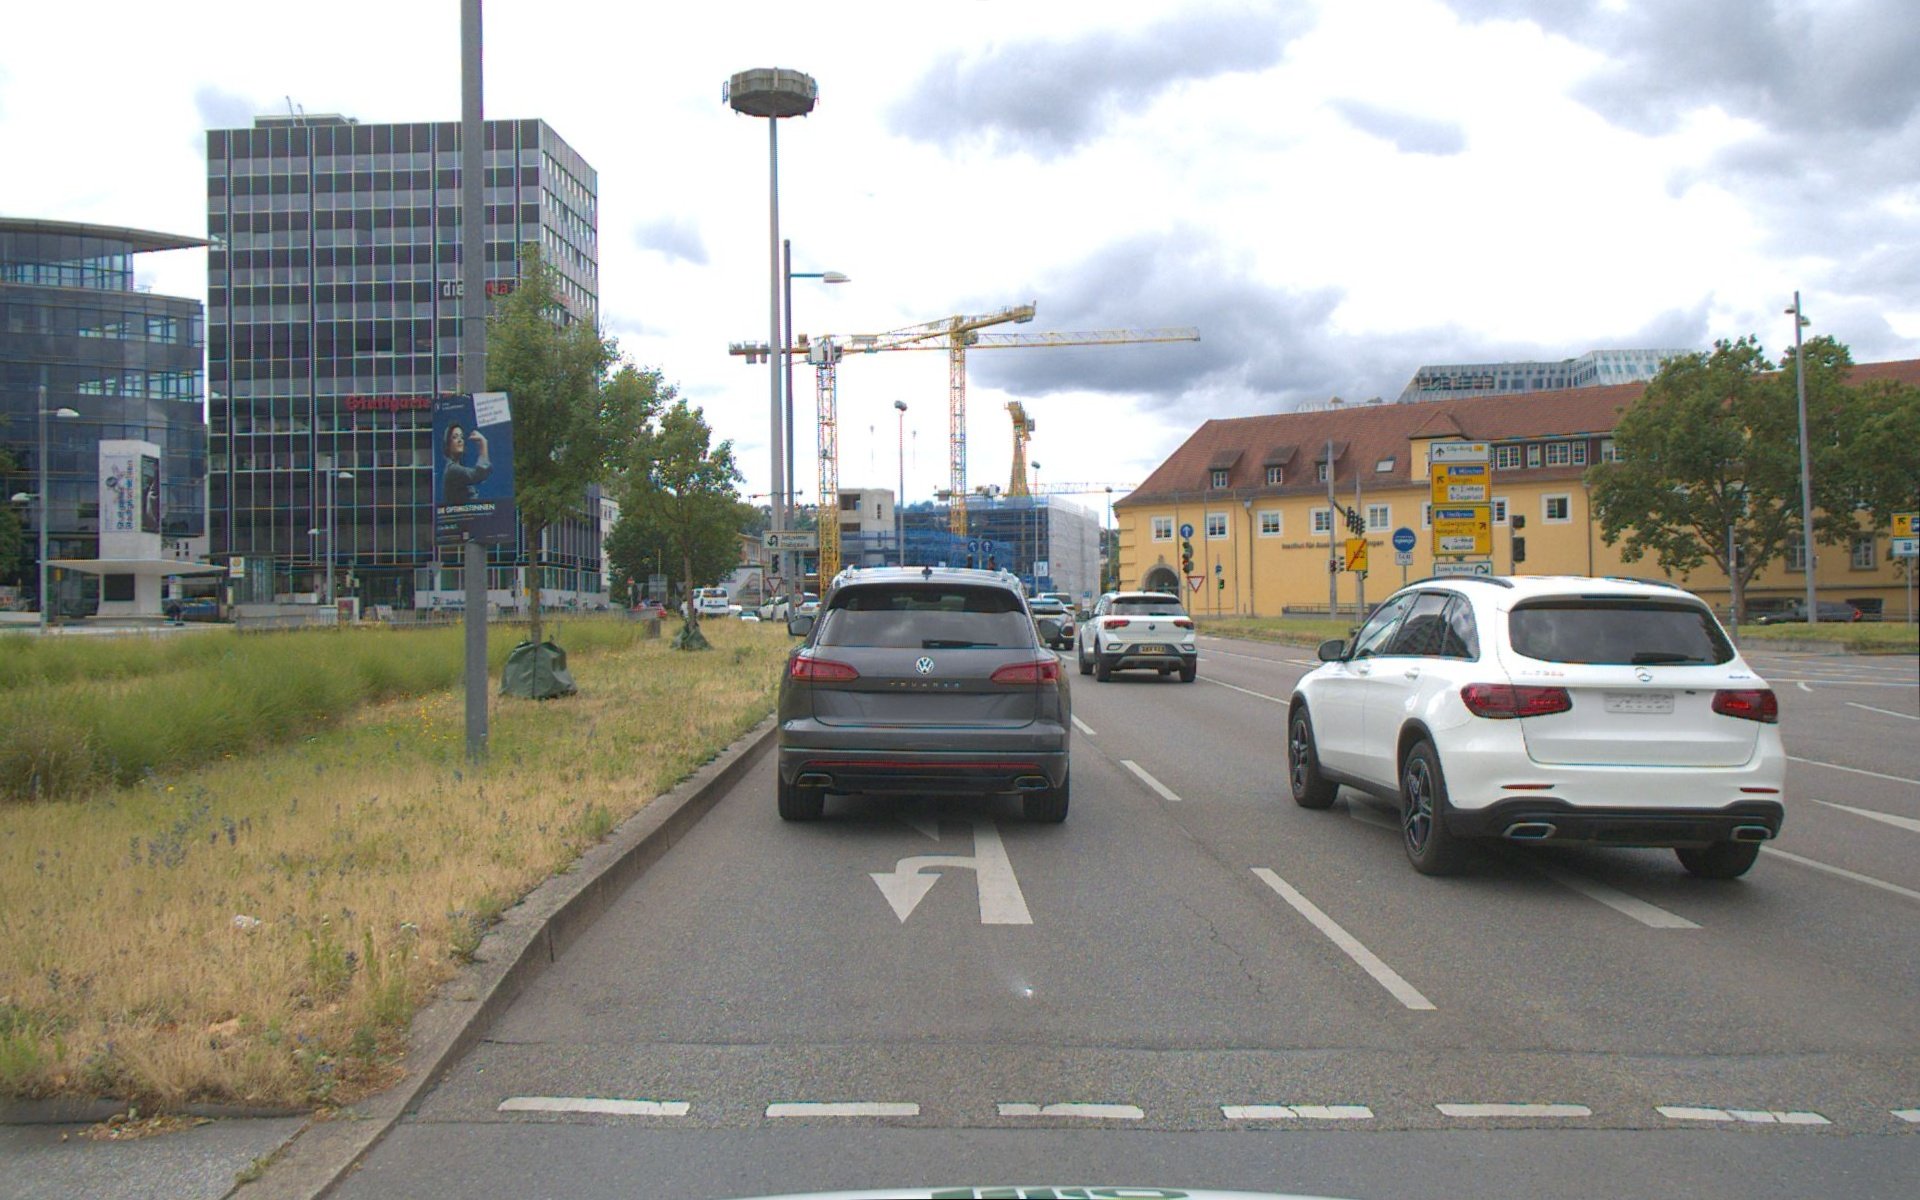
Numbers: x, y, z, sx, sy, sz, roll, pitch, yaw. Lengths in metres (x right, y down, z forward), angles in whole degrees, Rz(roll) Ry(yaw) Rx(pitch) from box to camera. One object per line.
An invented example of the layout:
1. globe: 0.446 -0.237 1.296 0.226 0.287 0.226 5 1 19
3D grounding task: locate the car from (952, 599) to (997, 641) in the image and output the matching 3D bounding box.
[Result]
1. car: 0.593 0.773 64.990 1.683 1.528 3.982 0 1 1

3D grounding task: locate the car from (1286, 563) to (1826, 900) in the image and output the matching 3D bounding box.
1. car: 3.401 0.626 10.431 1.782 1.676 4.378 0 1 -1

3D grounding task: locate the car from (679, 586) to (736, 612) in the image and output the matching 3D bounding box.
1. car: -15.491 -0.057 101.298 2.217 1.529 4.574 0 1 -26

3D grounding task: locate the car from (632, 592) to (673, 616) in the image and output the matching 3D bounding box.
1. car: -20.763 0.254 111.694 1.699 1.529 3.945 0 0 -27

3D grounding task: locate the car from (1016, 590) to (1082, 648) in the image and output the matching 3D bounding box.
1. car: 2.502 0.510 47.181 1.683 1.529 4.144 0 1 0

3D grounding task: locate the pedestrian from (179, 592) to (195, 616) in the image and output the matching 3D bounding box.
1. pedestrian: -37.070 0.191 79.333 0.465 1.100 0.560 1 0 0

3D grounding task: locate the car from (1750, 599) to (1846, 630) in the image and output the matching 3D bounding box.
1. car: 39.935 0.670 78.835 4.002 1.438 1.655 0 0 31

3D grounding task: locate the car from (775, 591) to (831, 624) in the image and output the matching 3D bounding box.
1. car: -7.518 0.340 78.715 1.787 1.522 3.884 0 1 -19

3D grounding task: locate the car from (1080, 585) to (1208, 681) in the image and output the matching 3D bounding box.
1. car: 3.271 0.547 30.081 1.855 1.613 3.800 0 1 -1

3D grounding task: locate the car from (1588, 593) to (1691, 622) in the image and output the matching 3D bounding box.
1. car: 33.868 0.362 82.476 4.592 1.445 1.593 0 0 31

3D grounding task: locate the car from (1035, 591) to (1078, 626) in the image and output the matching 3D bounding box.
1. car: 4.378 0.363 75.549 1.766 1.529 3.981 0 1 0

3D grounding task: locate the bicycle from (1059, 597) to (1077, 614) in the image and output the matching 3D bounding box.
1. bicycle: 7.648 0.376 117.071 0.905 1.179 2.462 1 0 -5

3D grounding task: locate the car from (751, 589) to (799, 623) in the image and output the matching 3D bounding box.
1. car: -11.209 0.324 100.220 1.868 1.638 3.974 -2 6 -23

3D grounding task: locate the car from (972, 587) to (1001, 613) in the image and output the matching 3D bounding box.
1. car: 1.587 -0.031 99.816 1.683 1.529 3.981 0 1 0

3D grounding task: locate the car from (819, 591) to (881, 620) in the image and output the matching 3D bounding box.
1. car: -5.617 0.246 84.201 1.626 1.421 3.554 0 0 -34

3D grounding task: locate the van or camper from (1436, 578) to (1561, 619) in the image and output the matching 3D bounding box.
1. van or camper: 28.081 -0.080 86.321 5.902 2.049 2.013 0 0 35

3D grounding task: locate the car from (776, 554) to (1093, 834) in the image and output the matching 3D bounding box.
1. car: -0.186 0.539 11.934 1.893 1.676 3.999 0 1 -1

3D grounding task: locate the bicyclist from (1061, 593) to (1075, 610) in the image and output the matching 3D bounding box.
1. bicyclist: 7.652 0.090 117.071 0.905 1.179 0.724 1 0 -6
